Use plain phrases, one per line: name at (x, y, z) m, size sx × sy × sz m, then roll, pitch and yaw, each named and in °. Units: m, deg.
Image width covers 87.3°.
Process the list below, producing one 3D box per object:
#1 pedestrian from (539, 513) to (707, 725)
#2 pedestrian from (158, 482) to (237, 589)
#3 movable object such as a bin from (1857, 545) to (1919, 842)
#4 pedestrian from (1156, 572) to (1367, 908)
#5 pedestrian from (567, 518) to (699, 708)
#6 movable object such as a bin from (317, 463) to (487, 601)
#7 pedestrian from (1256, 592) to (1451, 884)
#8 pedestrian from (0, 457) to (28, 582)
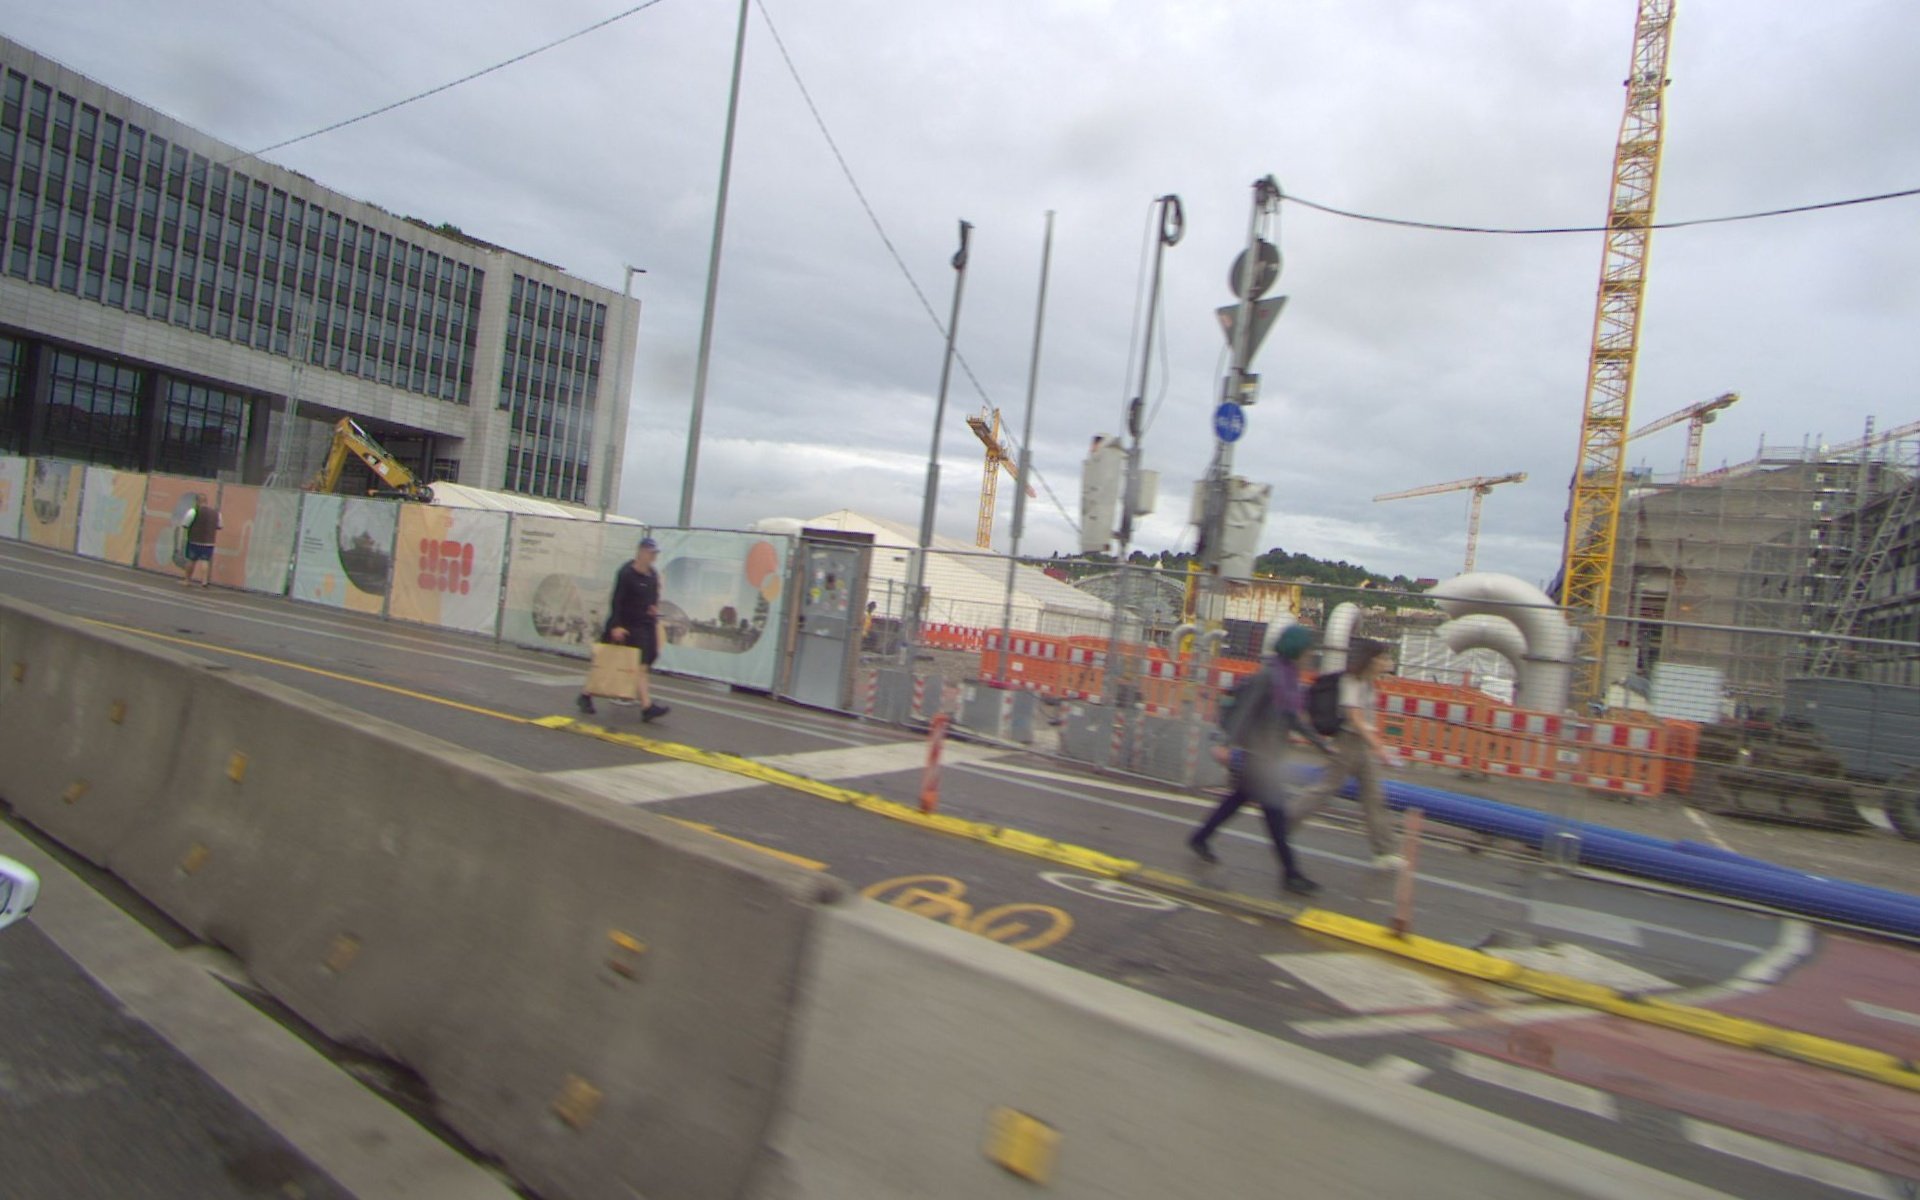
pedestrian at (-3.229, 0.175, 9.650) m, size 1.092 × 1.850 × 0.820 m, roll 7°, pitch 0°, yaw 29°
pedestrian at (-14.412, -1.208, 19.026) m, size 0.797 × 1.885 × 0.780 m, roll 8°, pitch 1°, yaw 28°
movable object such as a bin at (14.109, 1.457, 12.210) m, size 3.919 × 3.535 × 4.300 m, roll 7°, pitch 0°, yaw -45°
pedestrian at (1.962, 0.852, 6.482) m, size 0.932 × 1.884 × 0.872 m, roll 8°, pitch 0°, yaw 28°
pedestrian at (-3.477, 0.149, 10.731) m, size 0.797 × 1.884 × 0.781 m, roll 8°, pitch 0°, yaw 28°
movable object such as a bin at (-19.472, -2.312, 35.297) m, size 3.626 × 4.077 × 3.100 m, roll 7°, pitch -1°, yaw 8°
pedestrian at (2.909, 0.969, 7.408) m, size 1.040 × 1.884 × 0.781 m, roll 8°, pitch 0°, yaw 28°
pedestrian at (-15.101, -1.286, 15.480) m, size 0.817 × 1.876 × 0.734 m, roll 7°, pitch -1°, yaw 30°
